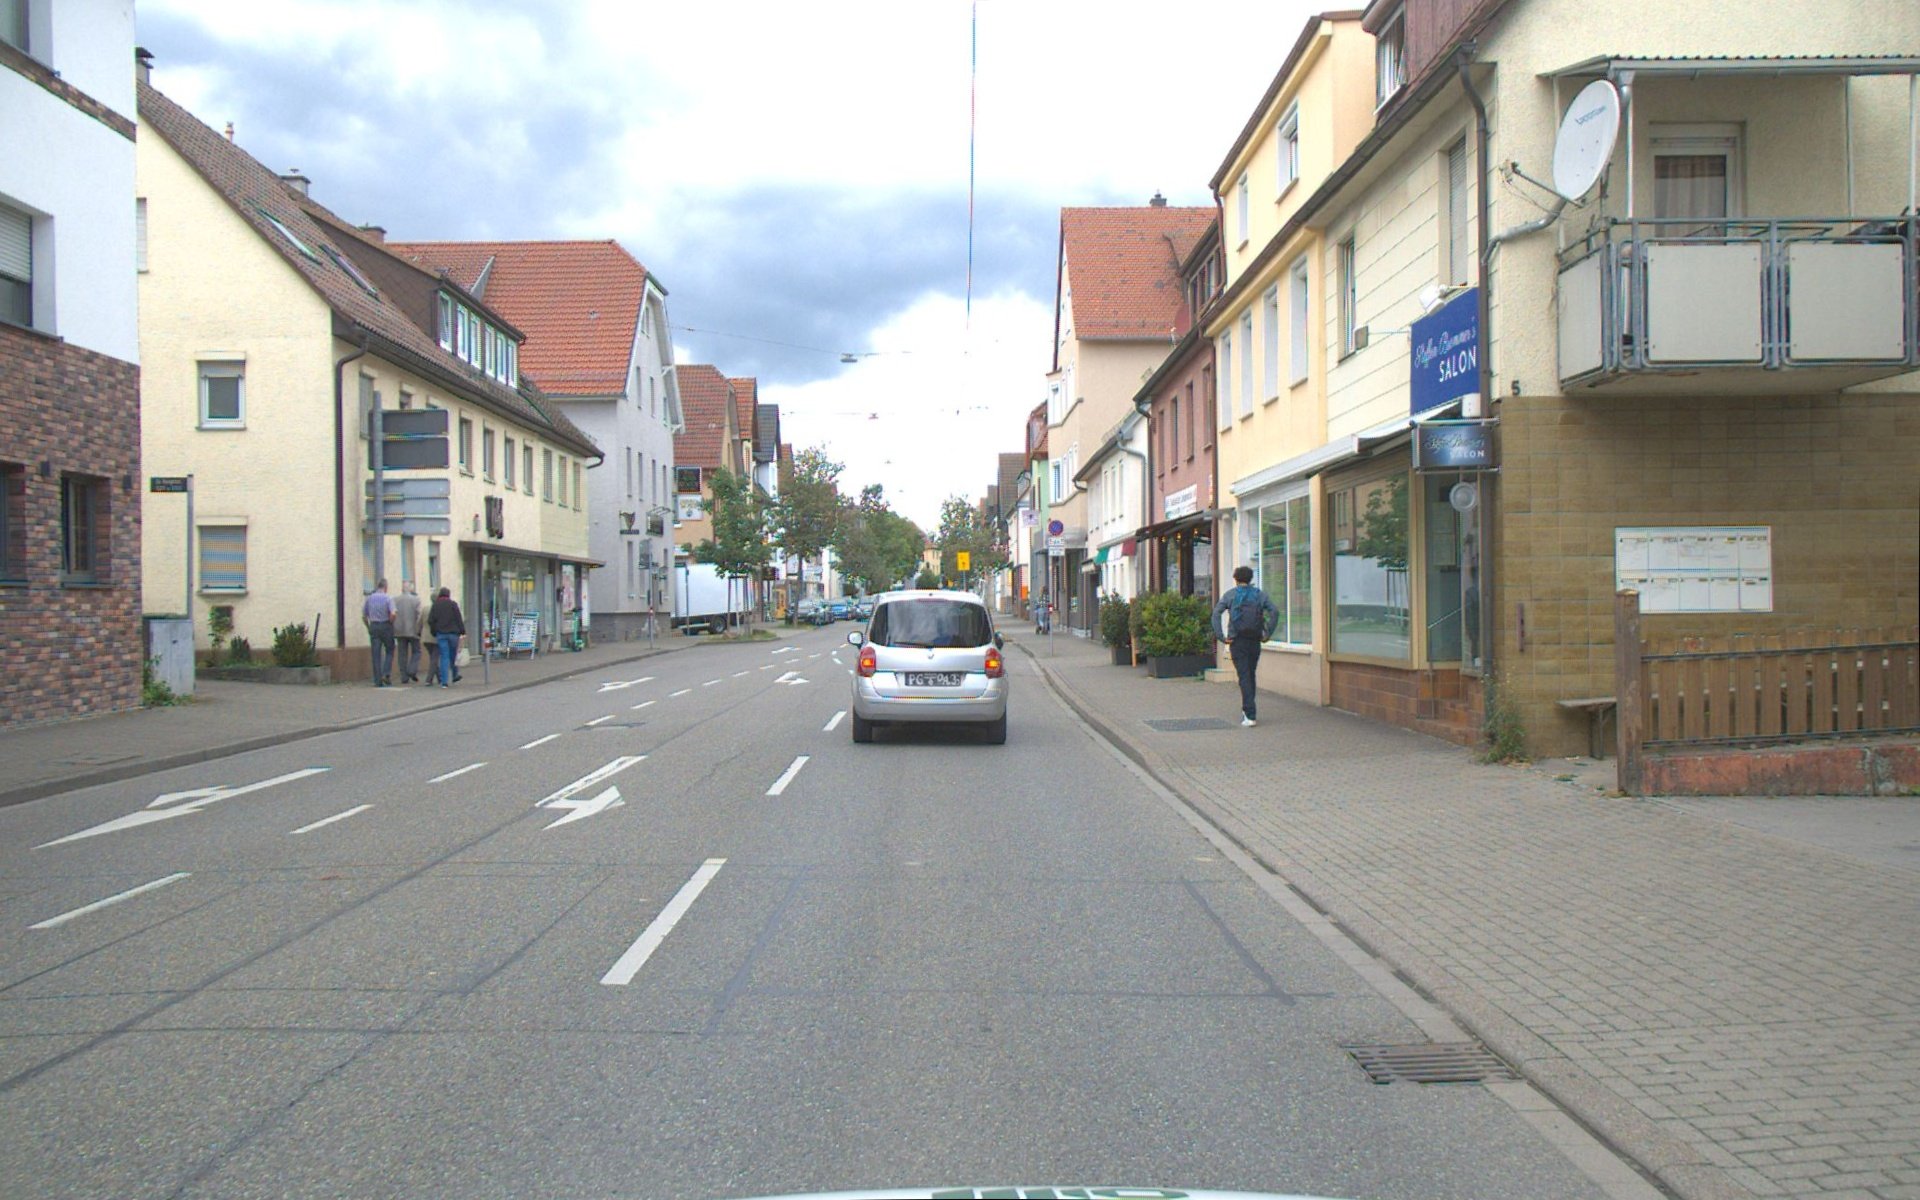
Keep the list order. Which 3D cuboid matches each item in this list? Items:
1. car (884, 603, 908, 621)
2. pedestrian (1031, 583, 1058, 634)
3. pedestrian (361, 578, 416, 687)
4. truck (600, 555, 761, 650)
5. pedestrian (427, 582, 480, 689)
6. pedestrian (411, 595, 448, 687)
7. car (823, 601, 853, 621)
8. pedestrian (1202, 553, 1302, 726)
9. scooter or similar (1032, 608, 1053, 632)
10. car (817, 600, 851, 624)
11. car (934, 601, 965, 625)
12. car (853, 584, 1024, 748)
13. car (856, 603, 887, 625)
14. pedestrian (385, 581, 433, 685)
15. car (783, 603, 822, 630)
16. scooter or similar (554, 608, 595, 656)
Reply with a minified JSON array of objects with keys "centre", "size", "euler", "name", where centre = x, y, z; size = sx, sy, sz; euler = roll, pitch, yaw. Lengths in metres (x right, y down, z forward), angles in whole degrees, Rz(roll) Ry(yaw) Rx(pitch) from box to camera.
[{"centre":[-5.091,0.941,131.325],"size":[1.776,1.378,3.999],"euler":[-1,0,-1],"name":"car"},{"centre":[3.088,0.294,60.717],"size":[0.871,1.818,0.785],"euler":[-3,0,-1],"name":"pedestrian"},{"centre":[-9.574,0.531,27.726],"size":[0.635,1.787,0.687],"euler":[2,0,-1],"name":"pedestrian"},{"centre":[-12.031,0.080,71.642],"size":[2.557,3.925,6.810],"euler":[-1,0,41],"name":"truck"},{"centre":[-8.618,0.598,28.179],"size":[0.649,1.787,0.687],"euler":[2,0,-1],"name":"pedestrian"},{"centre":[-9.133,0.701,28.499],"size":[0.417,1.552,0.553],"euler":[2,0,-1],"name":"pedestrian"},{"centre":[-8.484,0.768,115.270],"size":[1.776,1.378,3.999],"euler":[-1,0,-1],"name":"car"},{"centre":[3.198,0.423,18.159],"size":[0.871,1.818,0.785],"euler":[-3,0,-1],"name":"pedestrian"},{"centre":[3.056,0.756,61.473],"size":[0.666,0.847,0.822],"euler":[-3,0,-1],"name":"scooter or similar"},{"centre":[-7.587,0.724,99.942],"size":[1.776,1.378,3.999],"euler":[-1,0,-1],"name":"car"},{"centre":[-0.653,0.780,98.745],"size":[1.776,1.378,3.999],"euler":[-1,0,-1],"name":"car"},{"centre":[-0.276,0.673,18.639],"size":[1.672,1.606,3.998],"euler":[2,0,-2],"name":"car"},{"centre":[-5.633,0.887,105.388],"size":[1.776,1.378,3.856],"euler":[-1,0,-1],"name":"car"},{"centre":[-9.635,0.568,28.952],"size":[0.567,1.787,0.687],"euler":[2,0,-1],"name":"pedestrian"},{"centre":[-8.418,0.856,88.548],"size":[1.776,1.378,3.999],"euler":[-1,0,-1],"name":"car"},{"centre":[-10.793,0.866,46.362],"size":[0.564,1.291,2.548],"euler":[-1,0,-1],"name":"scooter or similar"}]
